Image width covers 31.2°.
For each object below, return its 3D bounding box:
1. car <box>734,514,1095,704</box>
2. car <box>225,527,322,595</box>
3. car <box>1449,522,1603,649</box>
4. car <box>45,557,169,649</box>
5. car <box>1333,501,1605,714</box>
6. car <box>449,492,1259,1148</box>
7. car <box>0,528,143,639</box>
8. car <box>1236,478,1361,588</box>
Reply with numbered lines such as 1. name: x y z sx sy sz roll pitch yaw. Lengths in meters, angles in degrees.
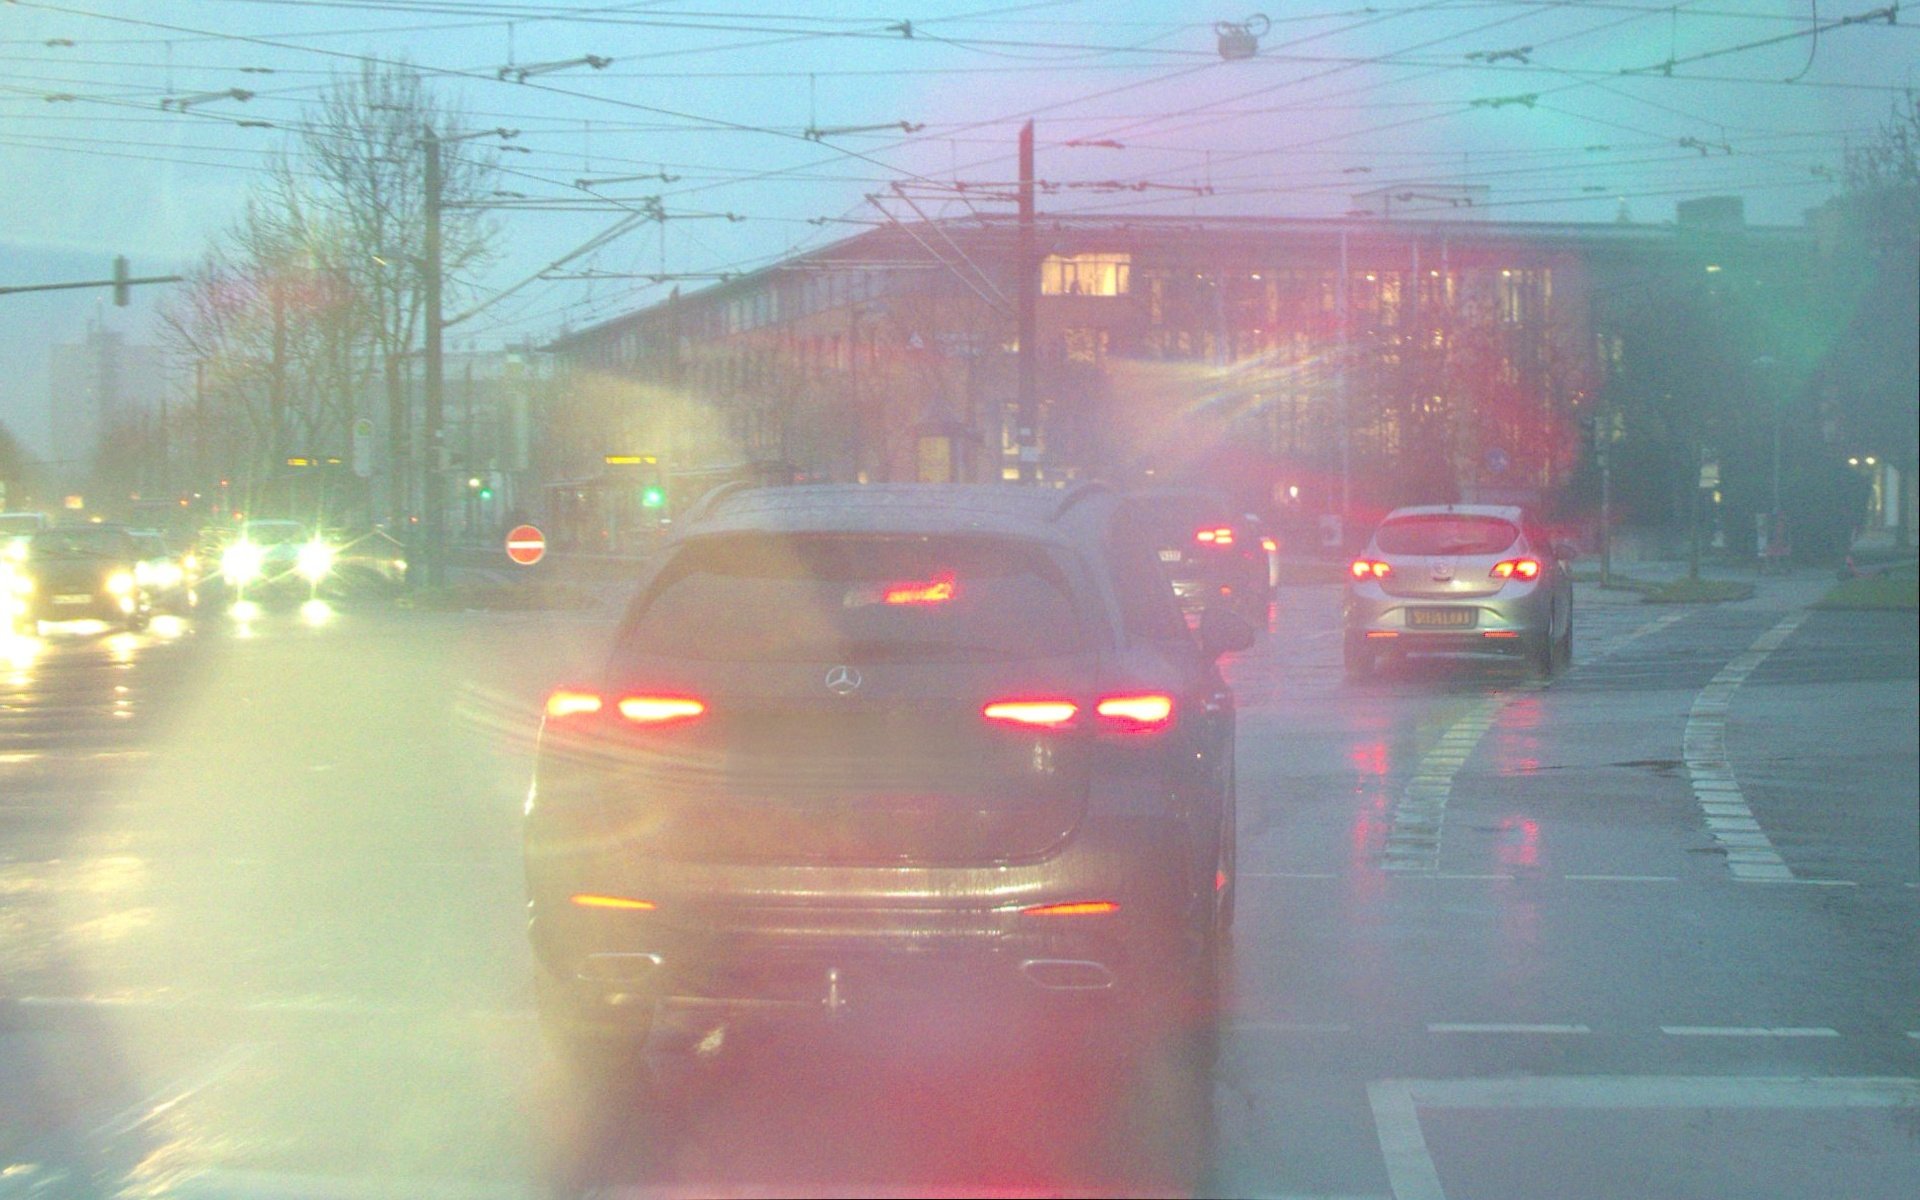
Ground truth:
1. car: -0.280 0.023 27.920 1.995 1.393 3.998 0 2 14
2. car: -13.515 -0.786 67.546 1.536 1.241 4.089 -1 2 -16
3. car: 8.358 -0.250 51.036 1.994 1.759 3.999 0 2 6
4. car: -14.565 0.024 58.566 1.679 1.452 4.336 -1 1 -19
5. car: 4.631 0.007 30.831 1.995 1.759 3.998 0 2 15
6. car: -0.234 0.489 10.508 1.991 1.610 4.000 -1 2 1
7. car: -12.270 -0.267 47.620 1.679 1.452 4.064 -1 1 -11
8. car: 5.652 -1.141 57.354 1.994 1.759 3.999 0 2 6
